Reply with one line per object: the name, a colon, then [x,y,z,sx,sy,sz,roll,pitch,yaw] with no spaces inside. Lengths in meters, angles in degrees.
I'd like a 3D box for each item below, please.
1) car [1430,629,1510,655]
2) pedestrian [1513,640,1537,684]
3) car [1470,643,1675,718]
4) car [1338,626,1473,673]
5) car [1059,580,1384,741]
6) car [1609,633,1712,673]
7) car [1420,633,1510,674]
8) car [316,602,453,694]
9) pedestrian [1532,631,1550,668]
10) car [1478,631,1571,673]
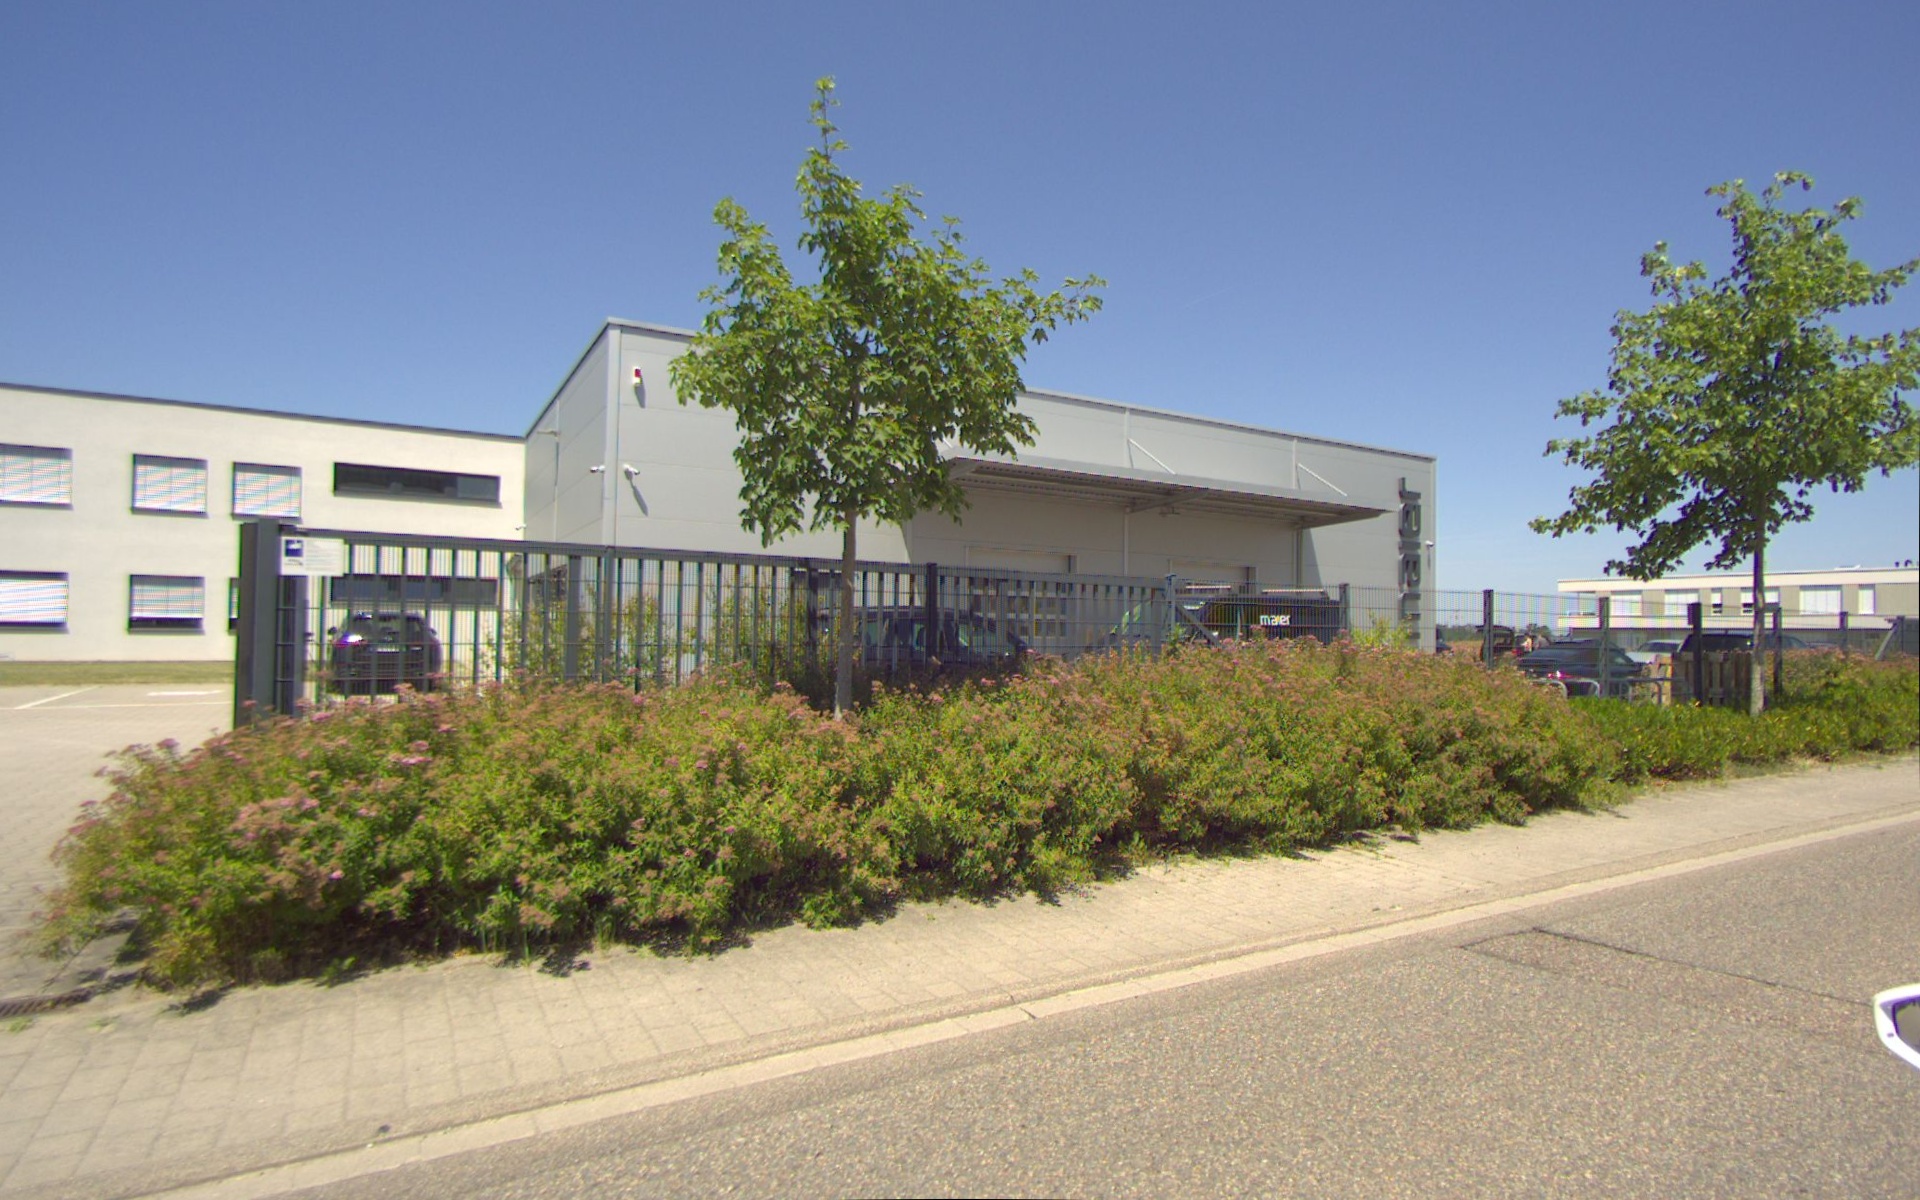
car: [24.403,2.010,48.039,3.719,1.149,1.815,2,-2,-33]
pedestrian: [21.728,2.387,38.635,0.770,1.650,0.613,2,-1,-44]
car: [12.170,1.544,19.921,3.952,1.297,1.788,2,-1,-29]
car: [14.703,1.617,33.365,1.775,1.439,3.843,2,-2,-28]
car: [4.005,0.852,15.213,4.636,2.126,1.992,2,0,-29]
car: [25.269,1.895,36.211,3.719,1.355,1.815,2,-2,-33]
car: [21.392,2.256,42.522,3.957,1.627,1.662,2,-1,-33]
car: [-10.700,0.836,18.783,1.976,1.517,4.071,2,-1,-29]
pedestrian: [22.709,1.919,39.251,0.493,1.432,0.484,2,-1,-44]
car: [23.028,2.124,40.941,3.957,1.626,1.662,2,-2,-33]
